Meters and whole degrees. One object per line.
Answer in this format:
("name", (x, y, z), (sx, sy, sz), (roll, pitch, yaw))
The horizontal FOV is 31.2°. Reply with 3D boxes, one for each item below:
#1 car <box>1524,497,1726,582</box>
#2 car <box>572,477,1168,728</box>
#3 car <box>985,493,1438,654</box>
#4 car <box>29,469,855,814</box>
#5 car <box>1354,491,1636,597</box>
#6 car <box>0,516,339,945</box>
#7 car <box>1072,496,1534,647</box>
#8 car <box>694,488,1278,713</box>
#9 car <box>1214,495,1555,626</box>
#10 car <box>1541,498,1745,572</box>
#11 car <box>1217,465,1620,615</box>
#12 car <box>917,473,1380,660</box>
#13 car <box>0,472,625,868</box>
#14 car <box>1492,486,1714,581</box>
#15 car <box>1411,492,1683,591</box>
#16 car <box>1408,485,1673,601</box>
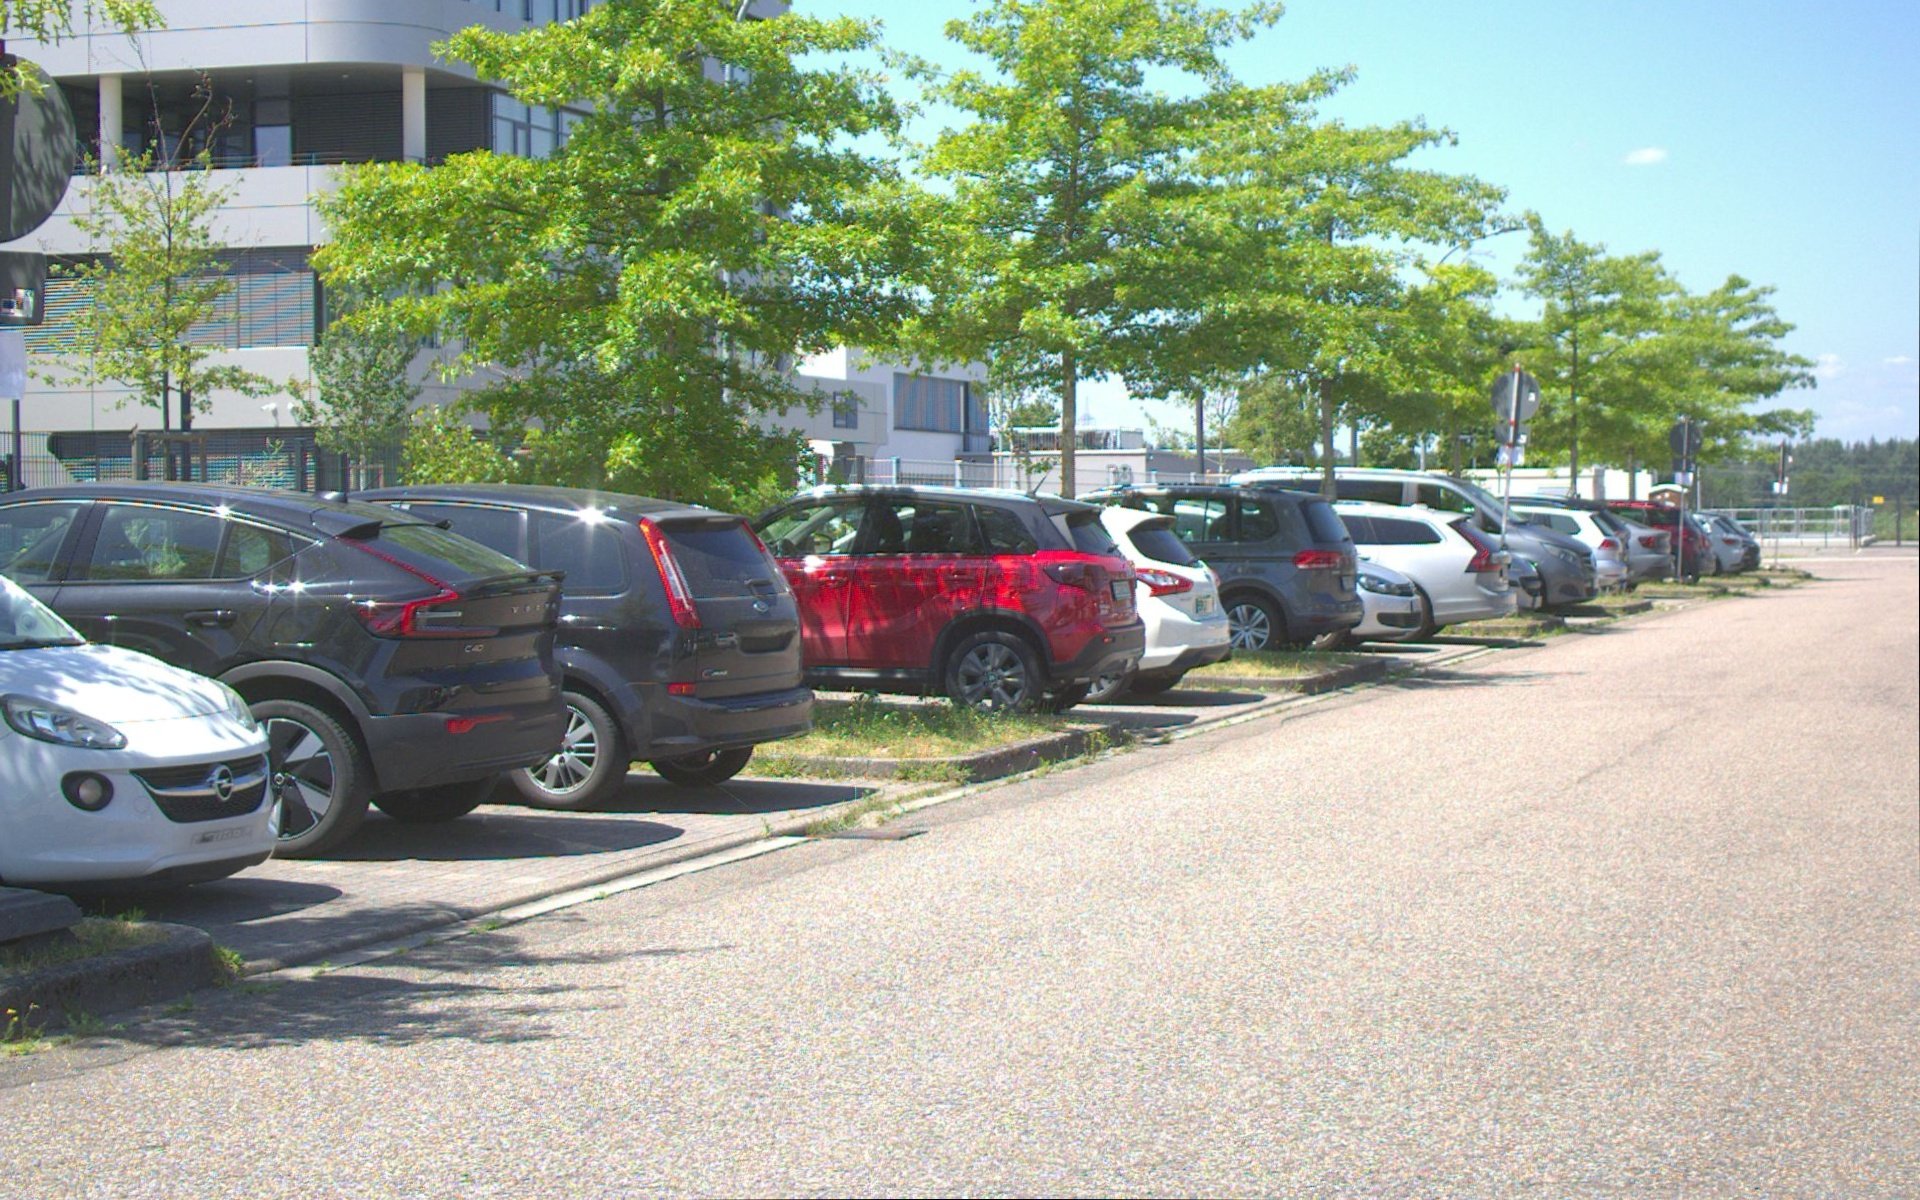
("car", (12.687, -1.171, 65.554), (3.659, 1.503, 1.730), (2, 2, 14))
("car", (-0.612, -0.032, 24.263), (3.841, 1.586, 1.726), (2, 2, 16))
("car", (2.577, -0.302, 35.011), (4.314, 1.468, 1.726), (2, 2, 16))
("car", (-2.696, 0.152, 18.063), (3.910, 1.586, 1.726), (2, 2, 17))
("car", (8.143, -0.867, 52.281), (4.040, 1.456, 1.603), (2, 2, 15))
("car", (-4.394, 0.397, 13.298), (3.507, 1.436, 1.726), (2, 2, 17))
("car", (3.734, -0.343, 37.247), (4.716, 1.442, 1.856), (2, 2, 15))
("car", (0.212, -0.048, 26.886), (4.176, 1.508, 1.805), (2, 3, 19))
("car", (5.383, -0.529, 43.509), (3.972, 1.479, 1.762), (2, 2, 18))
("car", (14.355, -1.375, 72.212), (4.078, 1.419, 1.872), (2, 2, 14))
("car", (6.221, -0.847, 46.620), (5.075, 1.885, 1.995), (2, 2, 19))
("car", (1.827, -0.357, 33.057), (4.121, 1.629, 1.726), (2, 2, 17))
("car", (-3.677, 0.238, 15.772), (3.841, 1.588, 1.828), (2, 2, 15))
("car", (11.807, -1.236, 63.091), (3.741, 1.616, 1.815), (2, 2, 19))
("car", (9.747, -0.993, 57.041), (4.197, 1.475, 1.711), (2, 2, 18))
("car", (9.240, -0.919, 54.630), (3.989, 1.672, 1.776), (2, 2, 13))
